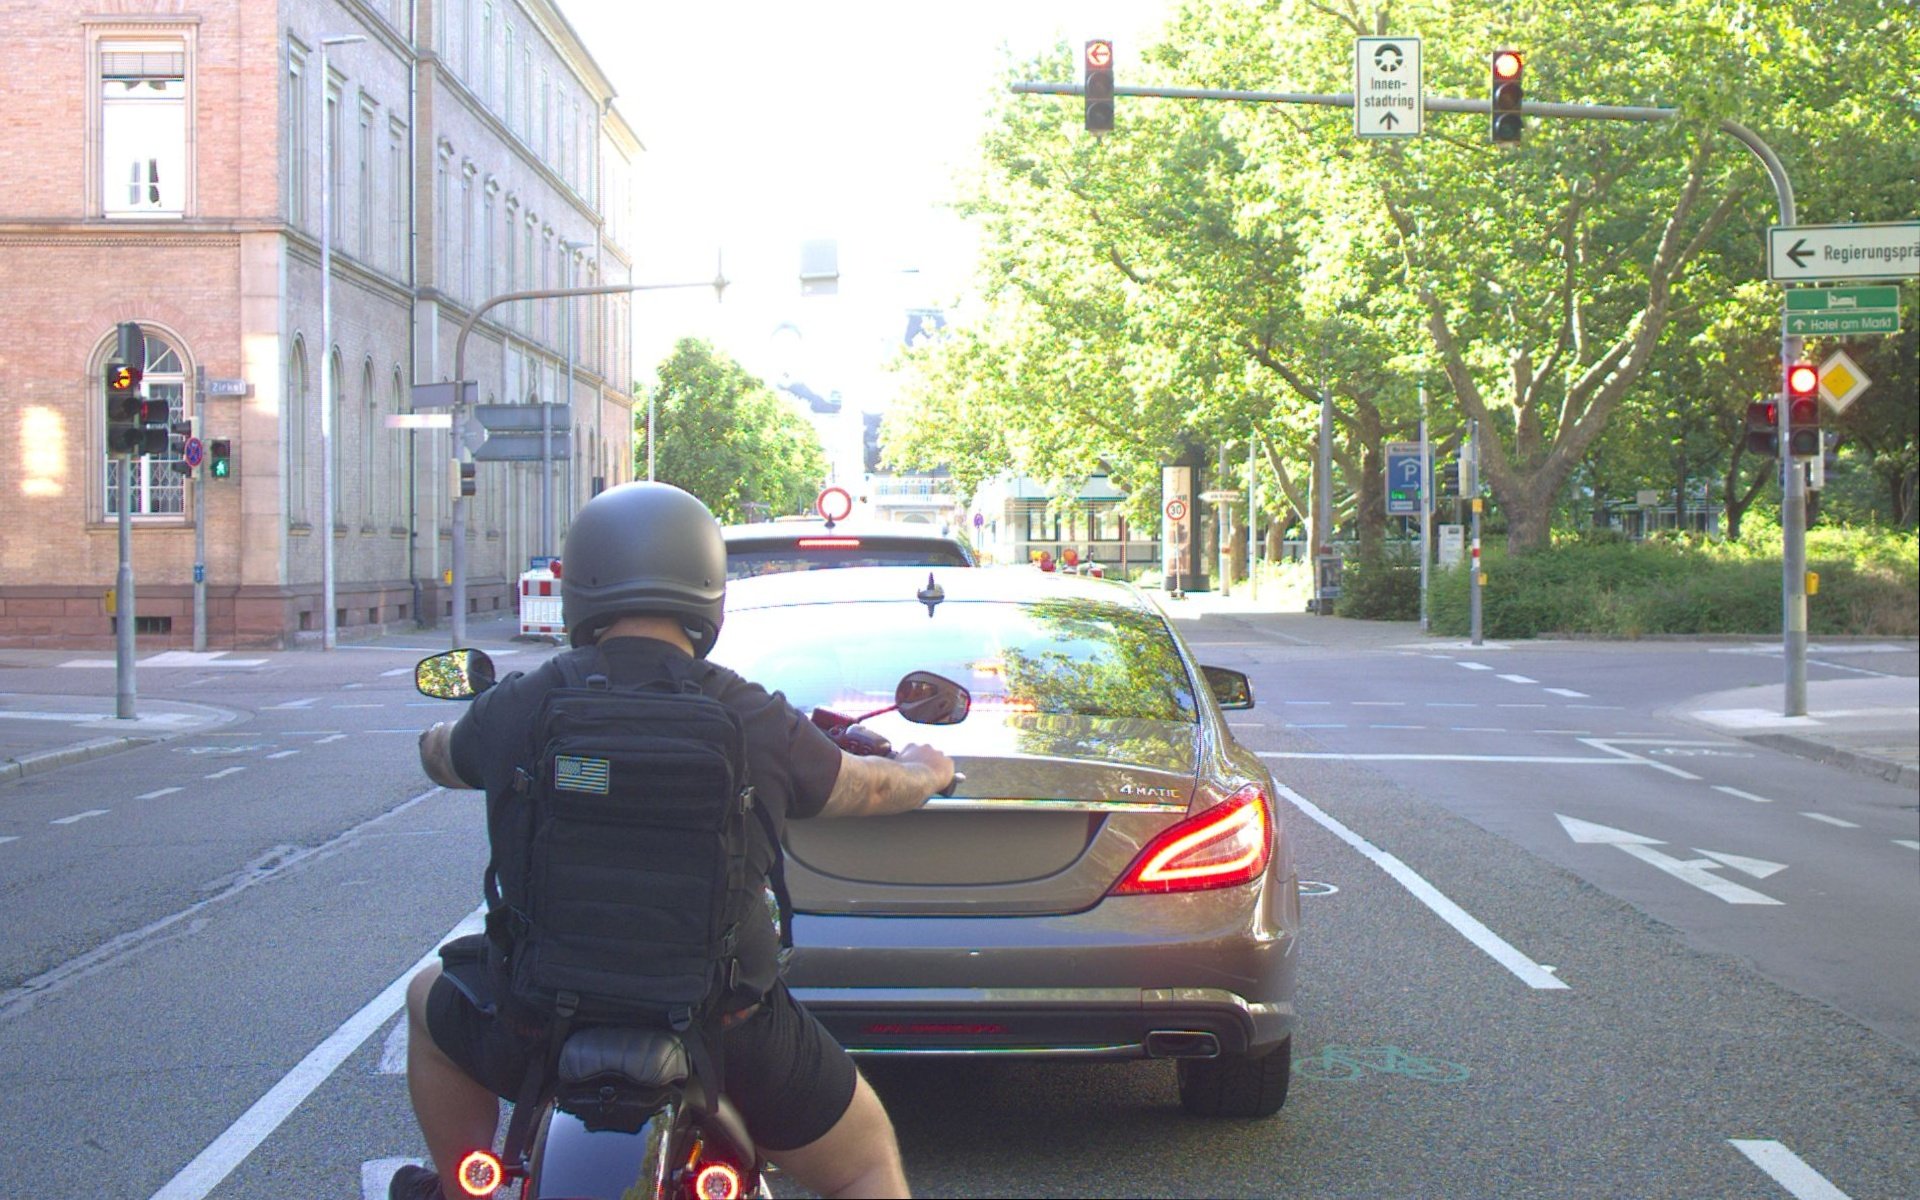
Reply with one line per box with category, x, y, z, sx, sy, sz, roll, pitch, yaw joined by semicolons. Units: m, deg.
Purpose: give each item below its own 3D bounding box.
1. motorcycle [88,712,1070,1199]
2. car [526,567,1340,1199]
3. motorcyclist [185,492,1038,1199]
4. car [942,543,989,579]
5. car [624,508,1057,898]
motorcycle;-0.467;0.836;5.512;1.118;1.203;2.212;1;1;6
car;-0.083;0.637;9.676;1.822;1.432;3.806;1;1;-1
motorcyclist;-0.481;0.632;5.288;1.099;1.560;1.071;1;0;6
car;0.182;-1.381;122.236;1.631;1.255;3.716;1;1;-1
car;-0.542;0.430;16.954;1.863;1.672;4.000;1;1;-1
